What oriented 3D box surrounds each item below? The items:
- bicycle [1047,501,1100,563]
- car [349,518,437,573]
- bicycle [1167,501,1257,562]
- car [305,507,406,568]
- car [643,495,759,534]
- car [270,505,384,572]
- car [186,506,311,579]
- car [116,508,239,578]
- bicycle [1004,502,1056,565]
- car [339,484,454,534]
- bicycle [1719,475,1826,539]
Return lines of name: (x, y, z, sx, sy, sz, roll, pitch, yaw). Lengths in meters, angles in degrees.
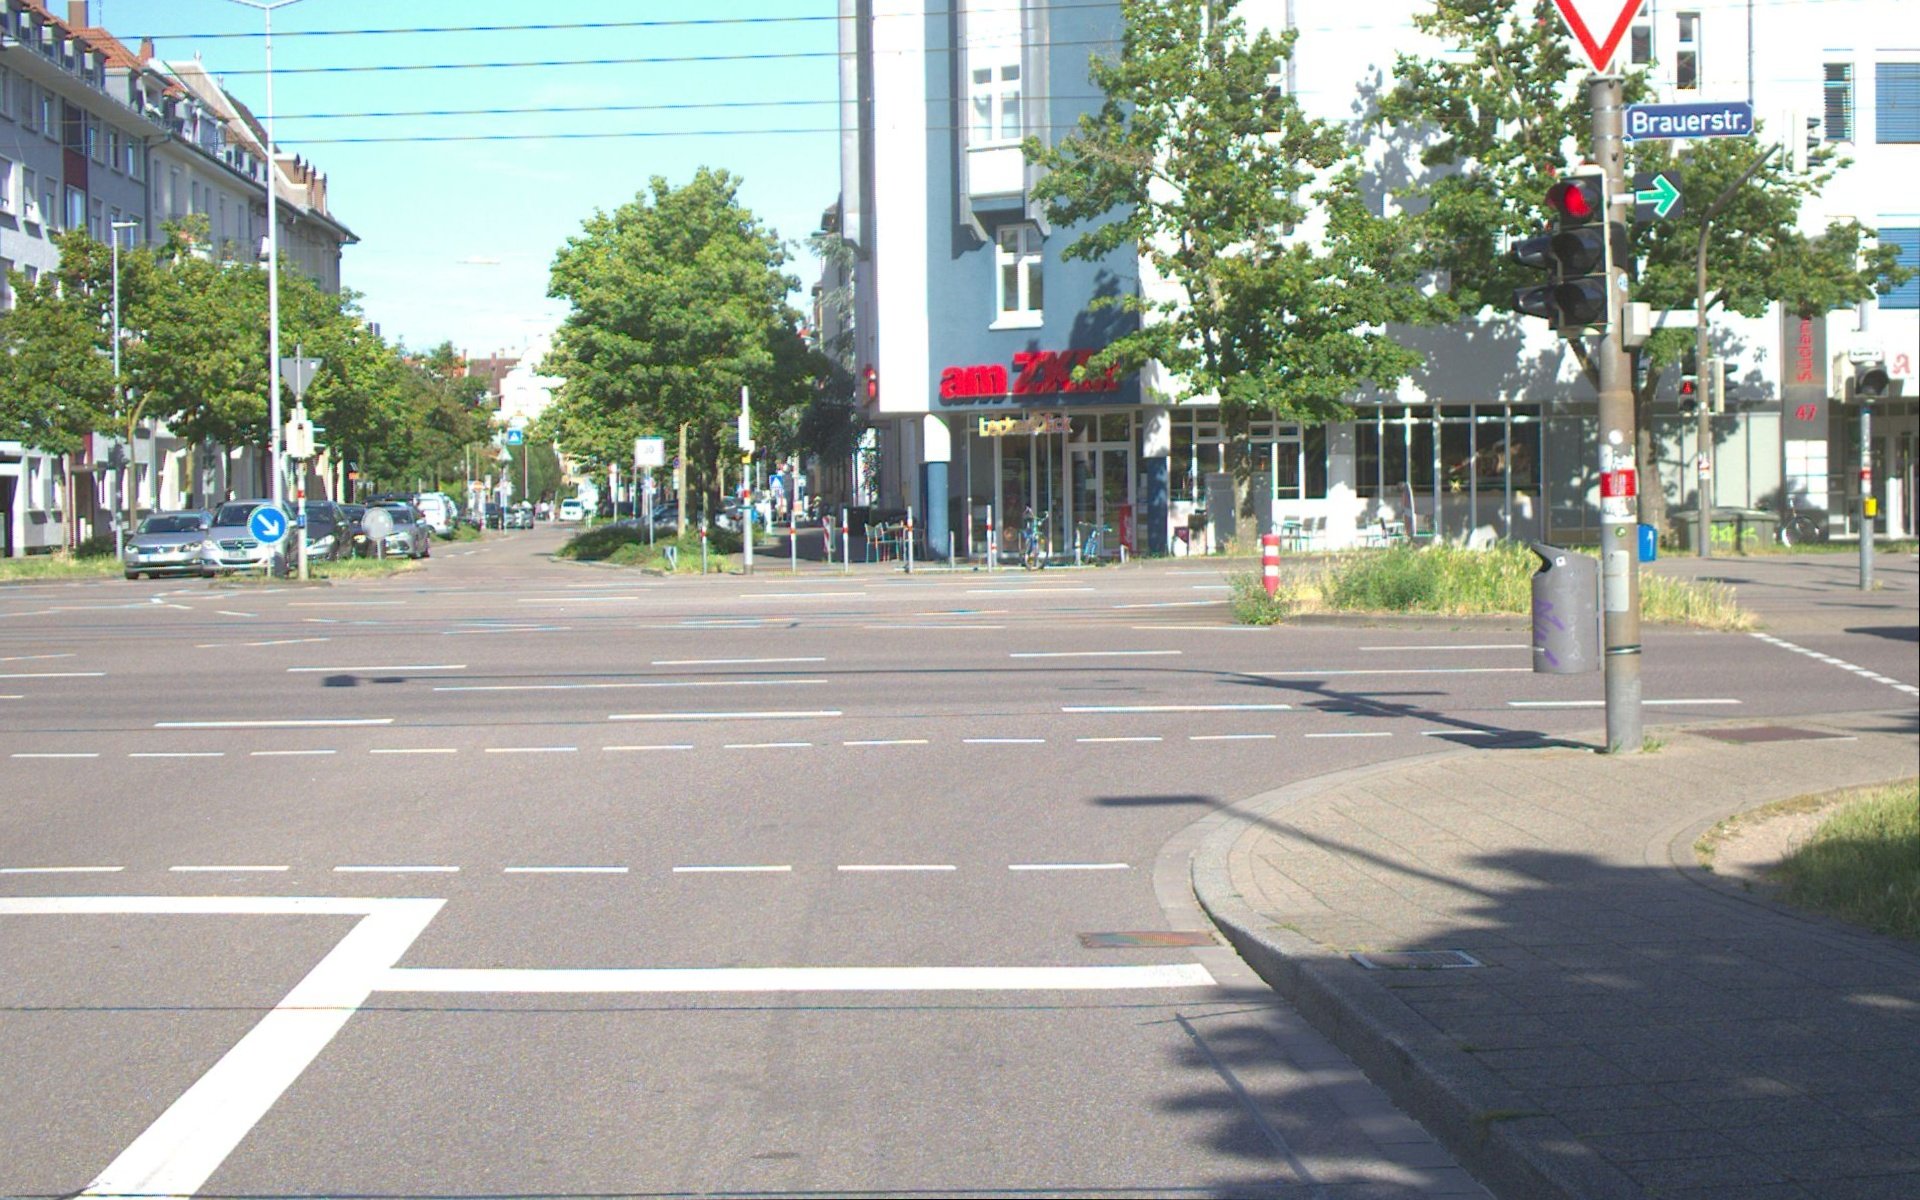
bicycle: (1.914, -1.161, 58.075, 0.471, 1.023, 1.517, -2, 2, -15)
car: (-15.512, -1.520, 94.147, 1.688, 1.427, 4.400, 2, 1, -1)
bicycle: (4.396, -1.197, 59.921, 1.511, 1.023, 0.473, -1, 2, 8)
car: (-14.748, -1.542, 84.057, 1.688, 1.427, 4.400, 2, 1, -1)
car: (-8.336, -2.750, 110.484, 3.566, 1.219, 1.731, 0, 1, -10)
car: (-14.403, -1.419, 78.394, 1.688, 1.427, 4.400, 2, 1, 1)
car: (-14.799, -1.213, 71.684, 1.688, 1.427, 4.400, 2, 1, -1)
car: (-16.969, -1.252, 74.703, 1.688, 1.427, 4.400, 2, 1, -1)
bicycle: (1.168, -1.123, 57.524, 0.471, 1.023, 1.517, -2, 2, -14)
car: (-23.041, -3.706, 140.639, 4.504, 2.007, 2.000, 0, 1, -5)
bicycle: (15.262, -1.748, 64.557, 1.863, 1.178, 0.562, -1, 2, -7)
